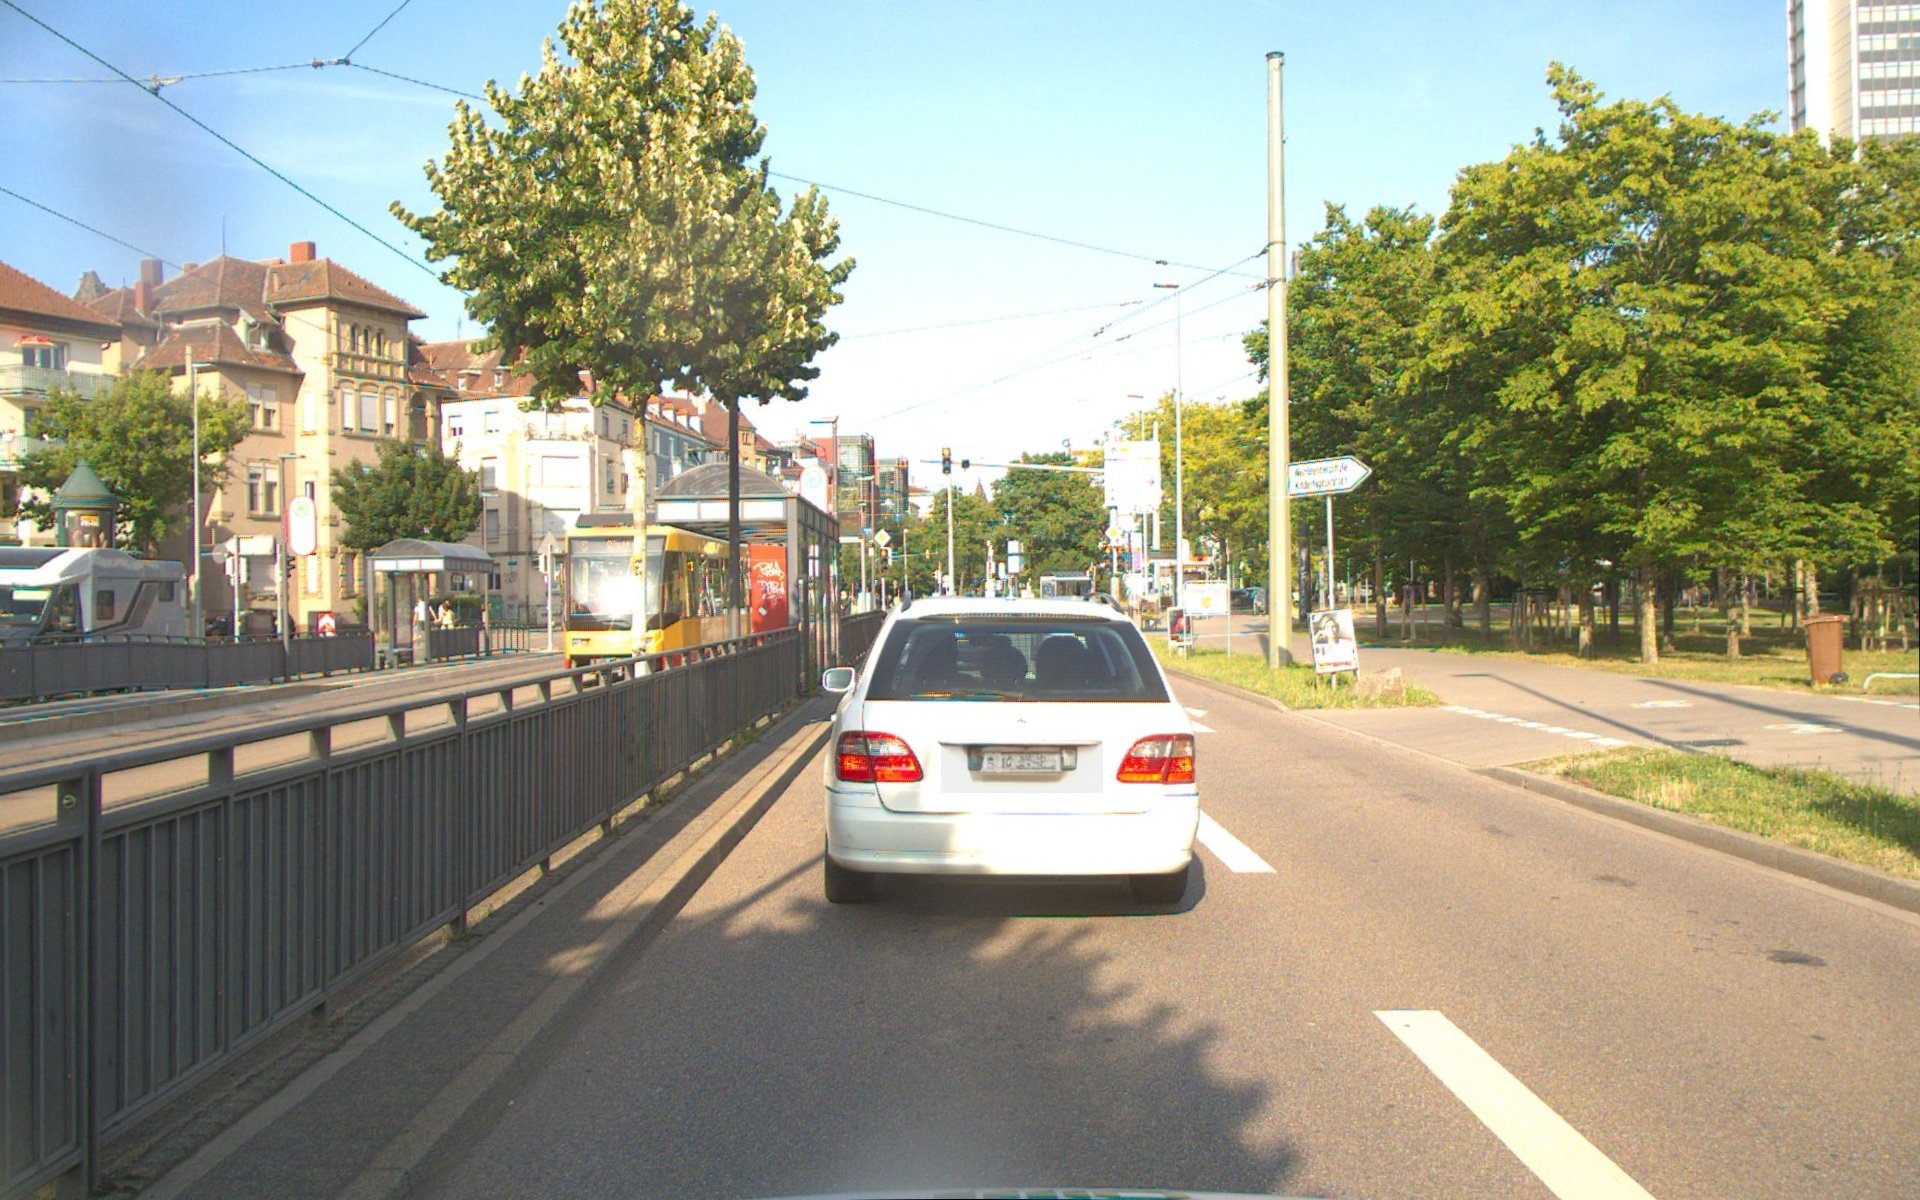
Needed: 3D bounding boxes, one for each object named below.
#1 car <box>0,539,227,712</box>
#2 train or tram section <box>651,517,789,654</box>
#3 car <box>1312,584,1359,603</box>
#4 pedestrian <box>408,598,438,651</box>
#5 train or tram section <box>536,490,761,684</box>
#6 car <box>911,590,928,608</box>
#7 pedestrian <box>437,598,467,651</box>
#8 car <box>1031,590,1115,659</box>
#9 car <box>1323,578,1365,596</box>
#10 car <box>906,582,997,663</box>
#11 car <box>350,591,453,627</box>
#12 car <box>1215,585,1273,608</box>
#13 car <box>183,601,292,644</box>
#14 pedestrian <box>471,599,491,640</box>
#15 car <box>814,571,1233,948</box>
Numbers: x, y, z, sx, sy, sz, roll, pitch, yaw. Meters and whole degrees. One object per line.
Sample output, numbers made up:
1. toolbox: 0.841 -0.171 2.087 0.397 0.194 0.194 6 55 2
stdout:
1. car: -16.313 0.379 30.323 2.544 2.783 7.467 0 0 -1
2. train or tram section: -6.961 -0.439 49.814 2.792 3.540 13.193 0 0 -3
3. car: 34.467 -0.591 151.803 3.940 1.680 1.982 -1 0 -27
4. pedestrian: -18.264 0.824 56.274 0.871 1.784 0.744 0 0 -11
5. train or tram section: -6.479 -0.318 36.822 2.792 3.540 13.197 0 1 -1
6. car: -4.904 -0.099 200.262 1.953 2.049 3.999 -1 0 -1
7. pedestrian: -17.340 0.820 56.455 0.871 1.784 0.744 0 0 -11
8. car: 2.835 0.580 41.627 1.990 1.633 4.002 0 0 3
9. car: 36.569 -1.238 157.460 3.902 1.680 2.002 -1 0 14
10. car: -0.137 0.465 37.070 1.750 1.719 4.002 0 0 4
11. car: -26.765 0.416 79.401 2.159 1.656 4.716 0 1 22
12. car: 21.315 -0.260 124.148 3.908 1.680 1.999 -1 0 25
13. car: -30.858 0.945 70.701 3.903 1.780 2.001 0 0 17
14. pedestrian: -20.968 0.862 72.414 0.651 1.784 0.746 0 0 3
15. car: 0.210 0.654 8.882 1.723 1.530 3.999 -1 0 -2
